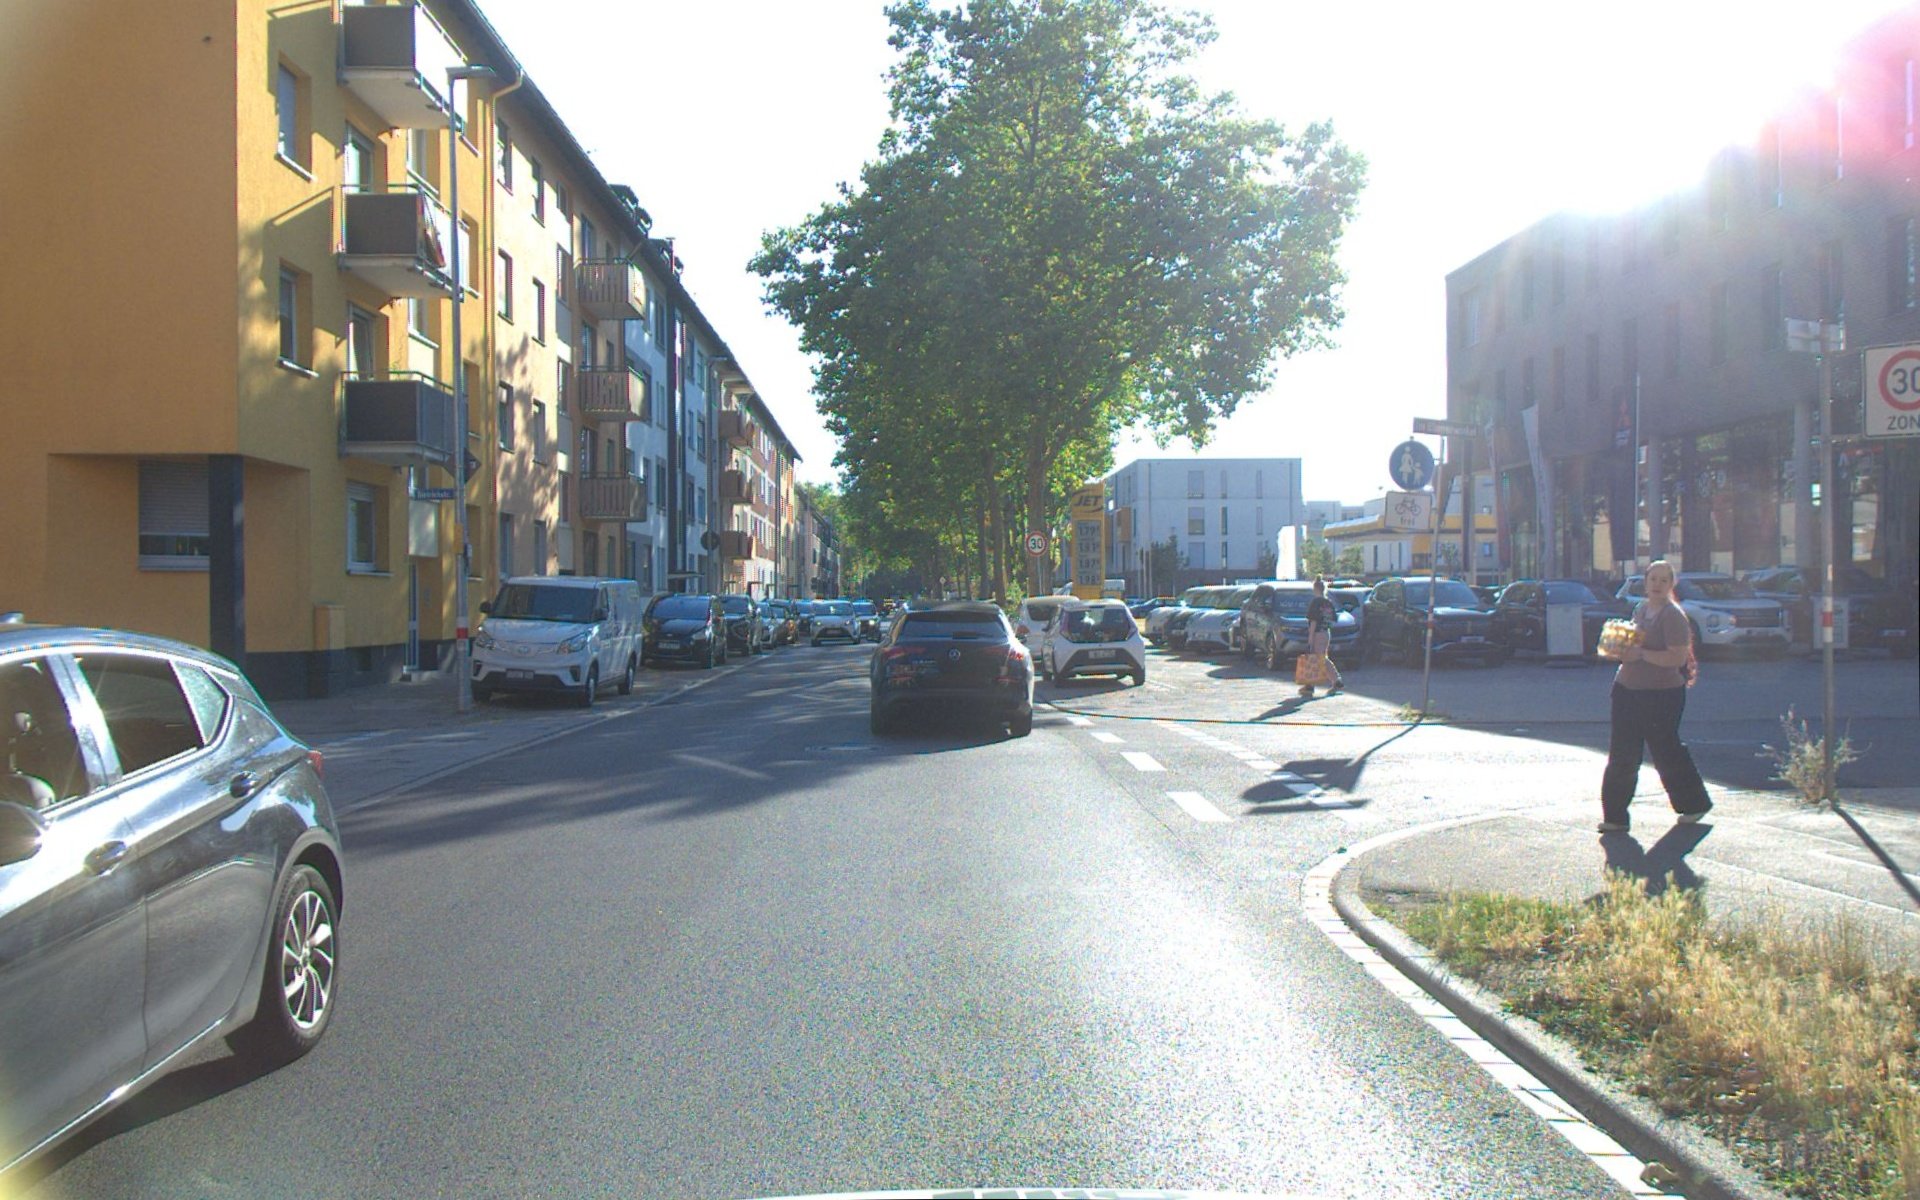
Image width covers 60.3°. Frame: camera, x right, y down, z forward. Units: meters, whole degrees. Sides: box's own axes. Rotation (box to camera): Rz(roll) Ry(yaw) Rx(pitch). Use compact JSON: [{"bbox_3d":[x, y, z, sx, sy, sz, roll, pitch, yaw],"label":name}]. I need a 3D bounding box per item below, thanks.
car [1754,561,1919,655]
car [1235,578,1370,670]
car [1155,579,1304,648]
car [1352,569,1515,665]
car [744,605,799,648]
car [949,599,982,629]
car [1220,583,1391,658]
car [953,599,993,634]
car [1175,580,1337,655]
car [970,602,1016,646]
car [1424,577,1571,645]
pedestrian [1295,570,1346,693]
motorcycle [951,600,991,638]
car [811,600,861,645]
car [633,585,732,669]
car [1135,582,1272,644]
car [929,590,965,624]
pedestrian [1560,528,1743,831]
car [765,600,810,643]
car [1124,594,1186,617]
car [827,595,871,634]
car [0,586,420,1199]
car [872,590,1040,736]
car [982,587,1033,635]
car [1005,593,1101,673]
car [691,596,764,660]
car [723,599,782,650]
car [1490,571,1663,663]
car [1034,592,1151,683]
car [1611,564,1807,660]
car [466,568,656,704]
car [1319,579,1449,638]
[{"bbox_3d":[18.061,0.131,33.441,1.945,1.764,4.180,-1,0,-1],"label":"car"},{"bbox_3d":[6.741,0.441,32.998,1.716,1.699,4.157,-1,0,-2],"label":"car"},{"bbox_3d":[7.010,0.327,42.860,3.782,1.606,1.717,-2,1,-39],"label":"car"},{"bbox_3d":[9.383,0.313,33.143,1.789,1.762,4.365,-1,0,-4],"label":"car"},{"bbox_3d":[-6.727,0.924,59.365,1.564,1.459,4.216,1,0,-2],"label":"car"},{"bbox_3d":[0.284,0.756,89.768,1.600,1.585,3.599,1,-1,-3],"label":"car"},{"bbox_3d":[7.786,0.438,37.162,3.775,1.572,1.642,-1,0,-35],"label":"car"},{"bbox_3d":[0.586,0.787,77.716,1.687,1.585,3.599,1,-1,-3],"label":"car"},{"bbox_3d":[7.140,0.383,39.788,3.779,1.638,1.718,-2,1,-37],"label":"car"},{"bbox_3d":[1.261,0.913,64.267,1.528,1.624,3.599,1,-1,-3],"label":"car"},{"bbox_3d":[13.384,0.261,41.133,3.779,1.537,1.621,-2,1,-37],"label":"car"},{"bbox_3d":[5.239,0.455,24.055,0.677,1.753,0.722,-1,0,12],"label":"pedestrian"},{"bbox_3d":[0.469,0.791,70.481,1.619,1.585,0.607,1,-1,-24],"label":"motorcycle"},{"bbox_3d":[-4.392,0.766,58.938,1.606,1.550,3.933,0,0,-2],"label":"car"},{"bbox_3d":[-6.400,0.593,38.574,1.710,1.819,4.547,1,0,-3],"label":"car"},{"bbox_3d":[6.872,0.346,46.490,3.782,1.606,1.722,-2,1,-39],"label":"car"},{"bbox_3d":[-0.814,0.462,102.941,1.954,2.049,3.995,0,-1,-5],"label":"car"},{"bbox_3d":[4.302,0.471,10.313,0.758,1.792,0.658,-2,0,-25],"label":"pedestrian"},{"bbox_3d":[-6.901,0.833,66.461,1.564,1.658,3.836,1,0,-3],"label":"car"},{"bbox_3d":[13.093,0.380,111.074,3.908,1.556,1.806,0,-1,-4],"label":"car"},{"bbox_3d":[-4.702,0.609,70.535,1.630,1.550,4.410,-2,0,-2],"label":"car"},{"bbox_3d":[-2.918,0.737,4.132,1.735,1.504,4.321,-1,0,-1],"label":"car"},{"bbox_3d":[0.055,0.642,19.027,1.708,1.469,3.970,1,0,3],"label":"car"},{"bbox_3d":[1.662,0.400,58.404,1.528,1.624,3.599,1,-1,-3],"label":"car"},{"bbox_3d":[2.011,0.715,37.050,1.774,1.565,4.582,-3,-1,-1],"label":"car"},{"bbox_3d":[-6.412,0.732,45.988,1.564,1.669,4.410,1,0,-3],"label":"car"},{"bbox_3d":[-6.627,0.767,53.157,1.517,1.550,4.003,1,0,-3],"label":"car"},{"bbox_3d":[12.280,0.312,33.206,1.693,1.714,4.177,-1,0,-4],"label":"car"},{"bbox_3d":[2.351,0.664,30.226,1.602,1.493,4.019,-2,-1,-3],"label":"car"},{"bbox_3d":[14.910,0.219,33.197,1.838,1.764,4.177,-1,0,-4],"label":"car"},{"bbox_3d":[-6.190,0.507,26.280,1.698,1.940,5.209,0,0,0],"label":"car"},{"bbox_3d":[12.148,0.217,47.318,3.779,1.537,1.621,-2,1,-37],"label":"car"}]
